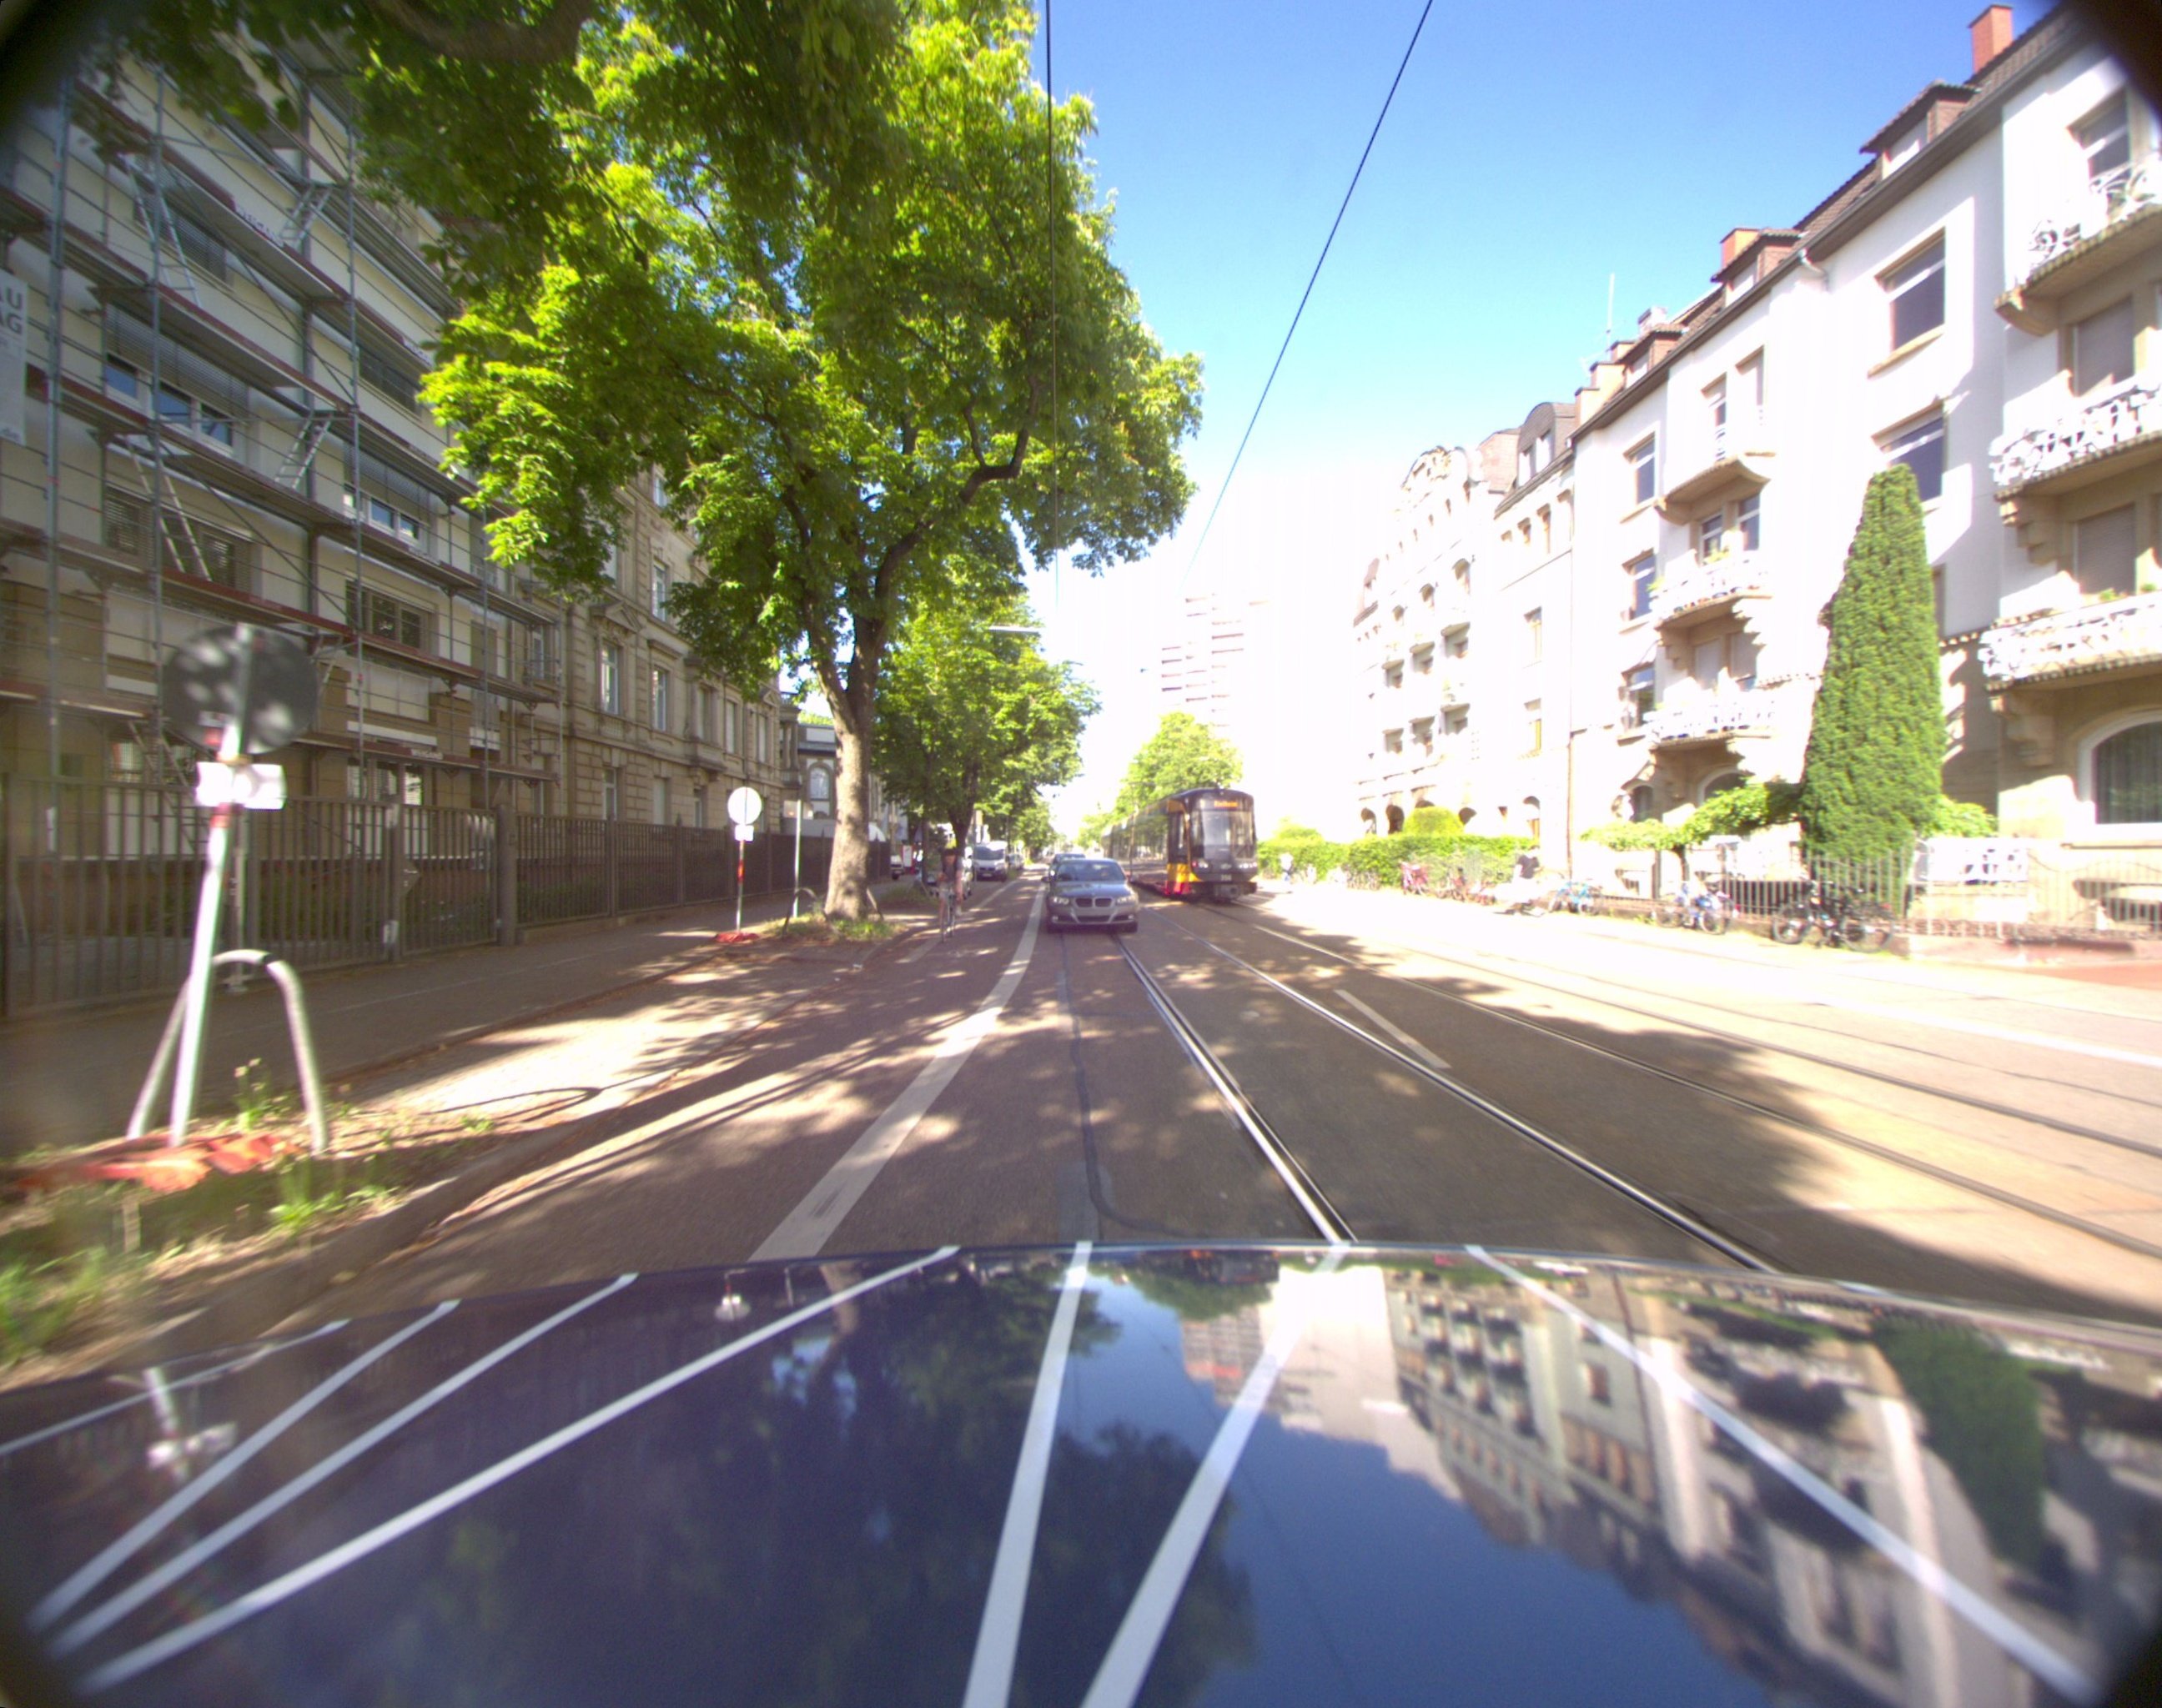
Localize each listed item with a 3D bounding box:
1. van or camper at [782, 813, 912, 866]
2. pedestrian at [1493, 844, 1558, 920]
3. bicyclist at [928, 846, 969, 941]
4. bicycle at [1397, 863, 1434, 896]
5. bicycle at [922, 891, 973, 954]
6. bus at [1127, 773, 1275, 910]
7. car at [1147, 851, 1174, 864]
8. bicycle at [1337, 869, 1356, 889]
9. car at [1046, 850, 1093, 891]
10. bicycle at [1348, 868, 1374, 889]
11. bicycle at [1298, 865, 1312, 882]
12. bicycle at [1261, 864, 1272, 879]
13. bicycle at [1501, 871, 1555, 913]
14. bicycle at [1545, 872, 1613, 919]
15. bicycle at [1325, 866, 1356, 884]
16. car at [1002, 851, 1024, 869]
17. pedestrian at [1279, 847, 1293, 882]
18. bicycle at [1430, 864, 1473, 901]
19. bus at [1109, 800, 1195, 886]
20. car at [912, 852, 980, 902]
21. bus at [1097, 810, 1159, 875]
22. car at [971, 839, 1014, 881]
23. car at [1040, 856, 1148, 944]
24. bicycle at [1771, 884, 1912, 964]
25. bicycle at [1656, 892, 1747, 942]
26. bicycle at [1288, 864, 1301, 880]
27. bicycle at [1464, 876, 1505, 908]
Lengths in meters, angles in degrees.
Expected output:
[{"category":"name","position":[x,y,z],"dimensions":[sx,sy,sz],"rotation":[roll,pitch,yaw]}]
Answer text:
[{"category":"van or camper","position":[-12.329,-0.718,39.960],"dimensions":[6.721,2.612,2.126],"rotation":[-1,2,23]},{"category":"pedestrian","position":[10.135,0.622,17.348],"dimensions":[0.869,1.619,0.870],"rotation":[-5,2,0]},{"category":"bicyclist","position":[-2.392,0.698,13.799],"dimensions":[0.532,1.660,0.878],"rotation":[-1,2,1]},{"category":"bicycle","position":[11.030,0.821,25.107],"dimensions":[0.405,1.018,1.815],"rotation":[-1,1,0]},{"category":"bicycle","position":[-2.394,1.196,13.818],"dimensions":[0.535,0.917,2.056],"rotation":[-1,1,1]},{"category":"bus","position":[3.705,-0.453,27.206],"dimensions":[2.858,3.755,12.192],"rotation":[-1,1,-2]},{"category":"car","position":[8.868,0.391,84.973],"dimensions":[2.758,1.417,1.226],"rotation":[-1,1,-17]},{"category":"bicycle","position":[10.849,1.022,31.041],"dimensions":[0.339,0.757,1.263],"rotation":[-1,1,0]},{"category":"car","position":[-0.454,0.650,32.074],"dimensions":[1.828,1.559,3.999],"rotation":[-1,1,0]},{"category":"bicycle","position":[10.871,0.947,29.534],"dimensions":[0.405,0.757,1.581],"rotation":[-1,1,0]},{"category":"bicycle","position":[10.606,0.916,36.014],"dimensions":[0.318,0.757,1.263],"rotation":[-1,1,0]},{"category":"bicycle","position":[10.407,0.964,42.557],"dimensions":[0.297,0.757,1.263],"rotation":[-1,1,0]},{"category":"bicycle","position":[11.304,0.940,19.264],"dimensions":[0.405,0.937,1.648],"rotation":[-1,1,0]},{"category":"bicycle","position":[11.367,0.928,17.408],"dimensions":[0.405,0.937,1.748],"rotation":[-1,1,0]},{"category":"bicycle","position":[11.682,0.950,34.223],"dimensions":[1.262,0.789,0.297],"rotation":[-1,2,0]},{"category":"car","position":[-6.118,0.533,68.629],"dimensions":[1.867,1.541,4.100],"rotation":[0,1,-3]},{"category":"pedestrian","position":[9.557,0.478,35.489],"dimensions":[0.475,1.619,0.659],"rotation":[-1,2,0]},{"category":"bicycle","position":[11.113,0.833,22.815],"dimensions":[0.405,1.018,1.815],"rotation":[-1,1,0]},{"category":"bus","position":[3.322,-0.578,38.926],"dimensions":[2.867,3.755,11.178],"rotation":[-1,1,-2]},{"category":"car","position":[-4.722,0.755,27.159],"dimensions":[1.877,1.534,4.363],"rotation":[1,1,-3]},{"category":"bus","position":[2.899,-0.762,50.220],"dimensions":[2.867,3.755,11.493],"rotation":[-1,1,-2]},{"category":"car","position":[-5.239,0.297,45.660],"dimensions":[2.132,2.329,5.802],"rotation":[1,1,-3]},{"category":"car","position":[0.225,0.815,15.307],"dimensions":[1.870,1.426,3.999],"rotation":[-1,1,0]},{"category":"bicycle","position":[11.652,1.037,11.721],"dimensions":[0.405,1.033,1.748],"rotation":[-1,1,0]},{"category":"bicycle","position":[11.351,1.129,13.957],"dimensions":[0.318,0.757,1.651],"rotation":[-1,1,0]},{"category":"bicycle","position":[10.604,0.898,37.805],"dimensions":[0.297,0.757,1.263],"rotation":[-1,1,0]},{"category":"bicycle","position":[11.166,1.036,21.054],"dimensions":[0.318,0.757,1.542],"rotation":[-1,1,0]}]
